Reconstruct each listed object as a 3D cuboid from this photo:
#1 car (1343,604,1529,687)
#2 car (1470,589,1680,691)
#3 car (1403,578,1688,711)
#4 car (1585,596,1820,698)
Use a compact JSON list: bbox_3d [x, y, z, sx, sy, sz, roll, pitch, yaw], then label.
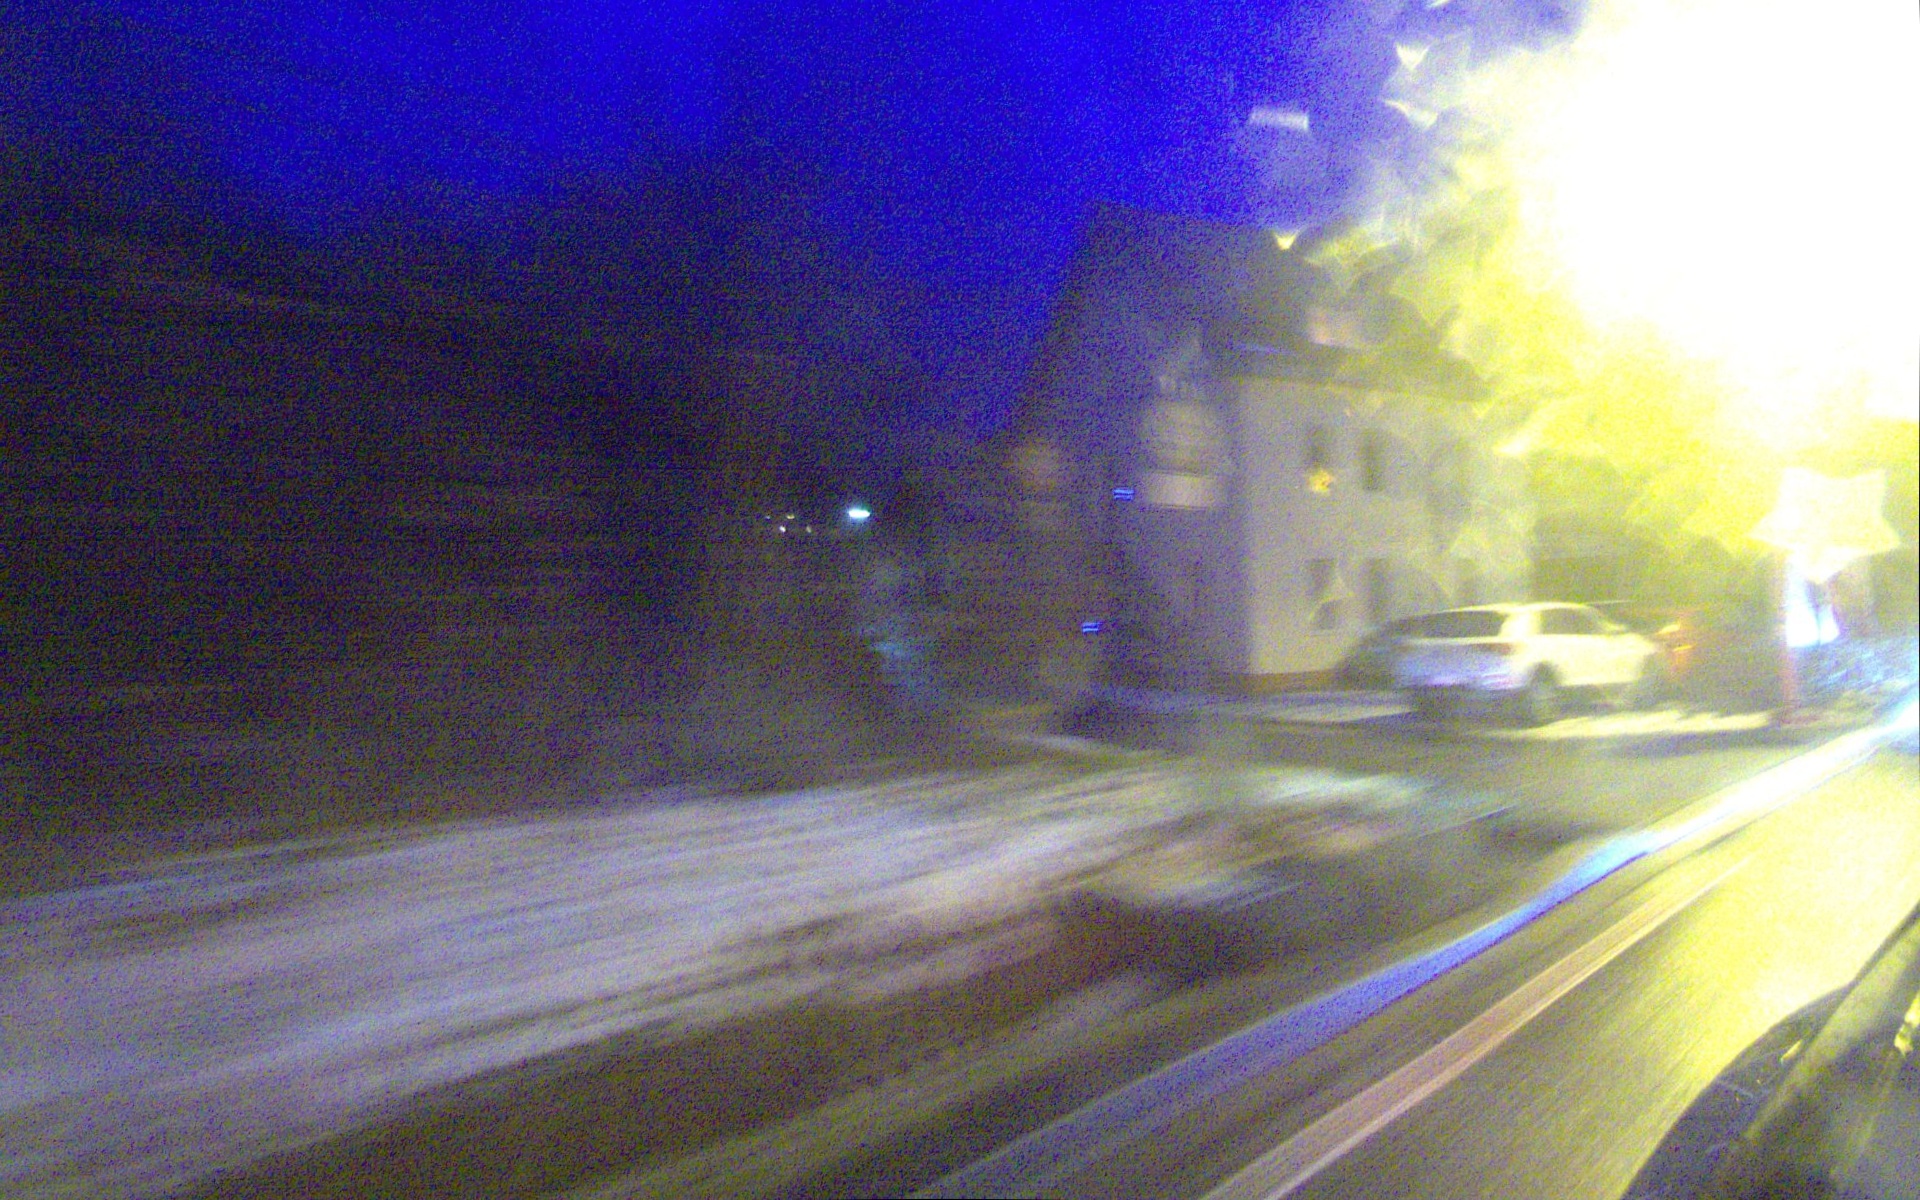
[{"bbox_3d":[9.989,0.908,21.230,3.600,1.529,1.643,1,2,-28],"label":"car"},{"bbox_3d":[11.147,0.686,18.329,3.463,1.640,1.643,1,2,-28],"label":"car"},{"bbox_3d":[7.970,0.555,13.720,3.724,1.586,1.681,1,0,-29],"label":"car"},{"bbox_3d":[11.642,0.656,15.839,3.601,1.416,1.642,0,0,-29],"label":"car"}]
